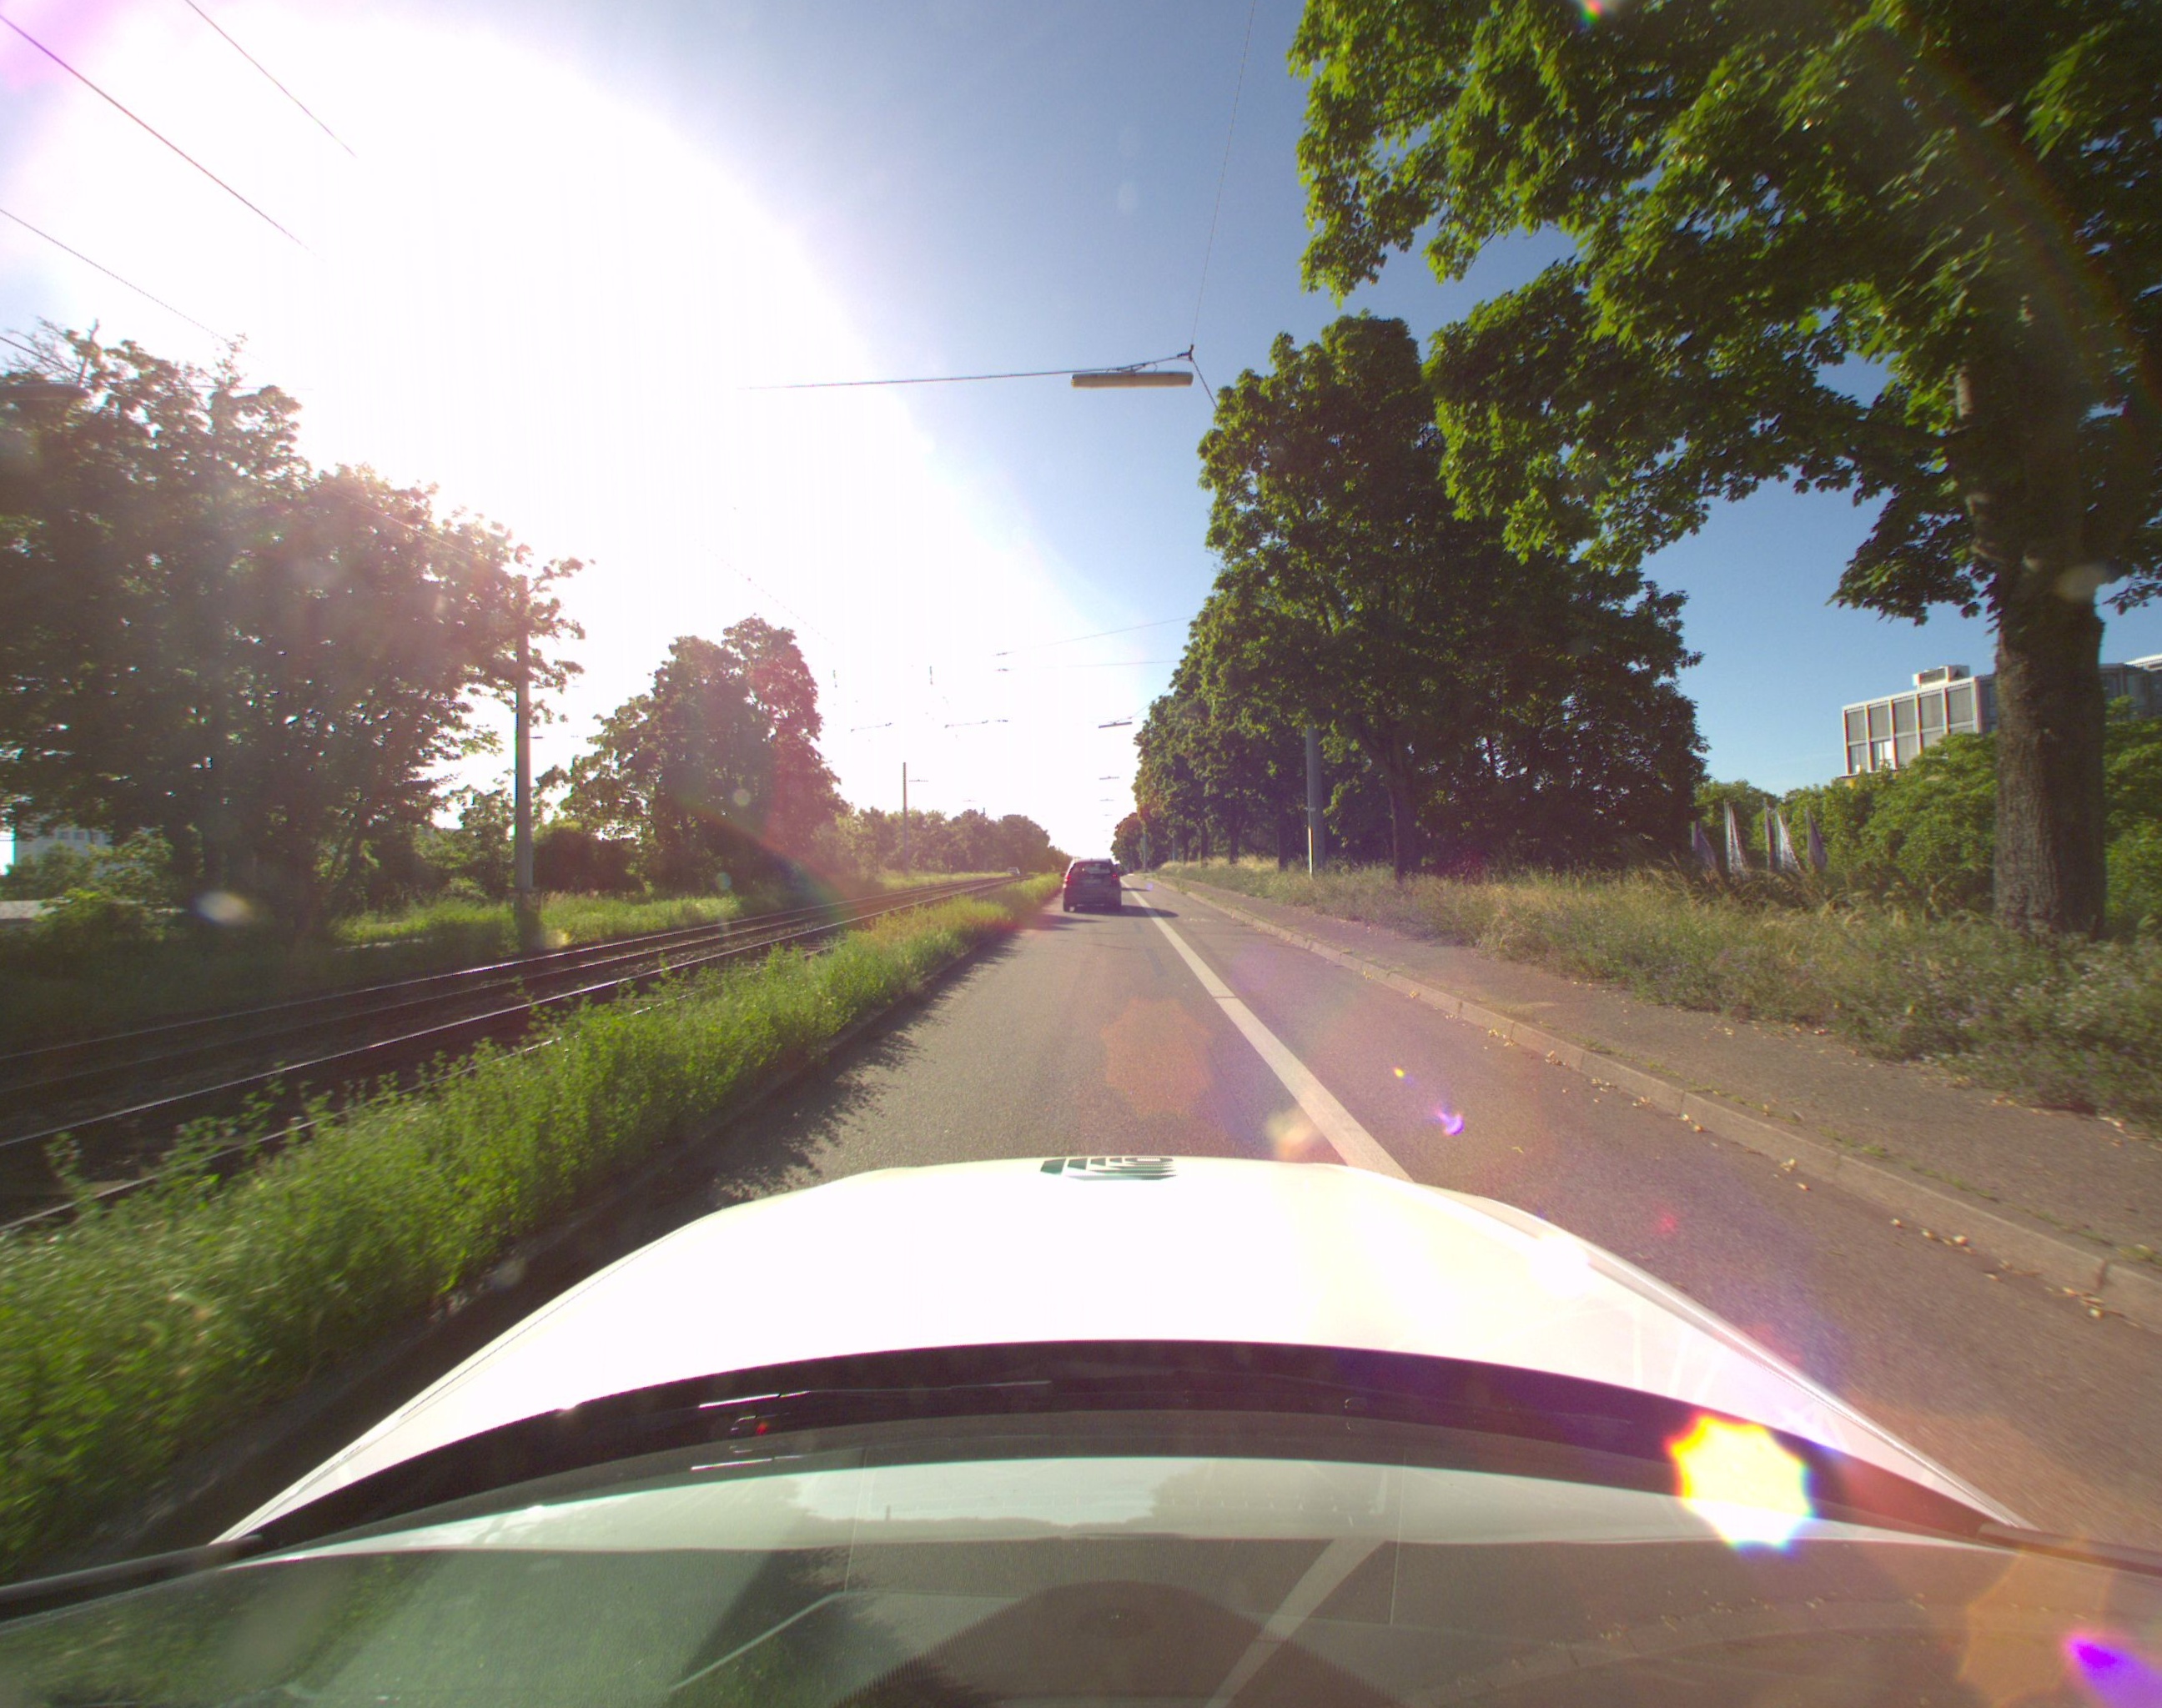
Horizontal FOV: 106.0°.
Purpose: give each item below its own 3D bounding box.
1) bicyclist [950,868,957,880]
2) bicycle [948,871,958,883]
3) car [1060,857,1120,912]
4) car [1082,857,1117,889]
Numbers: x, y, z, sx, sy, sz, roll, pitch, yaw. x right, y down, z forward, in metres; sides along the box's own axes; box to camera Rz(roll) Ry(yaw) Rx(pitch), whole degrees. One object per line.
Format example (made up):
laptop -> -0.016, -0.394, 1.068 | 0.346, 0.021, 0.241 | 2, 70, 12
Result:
bicyclist -> -13.709, 2.157, 87.407 | 0.580, 1.310, 0.988 | 0, 0, 2
bicycle -> -13.710, 2.444, 87.332 | 0.587, 1.261, 2.428 | 0, 0, 2
car -> 0.297, 0.840, 24.348 | 1.664, 1.507, 3.812 | 0, 0, 1
car -> 0.961, 0.926, 41.079 | 1.648, 1.507, 3.813 | 0, 0, 2
